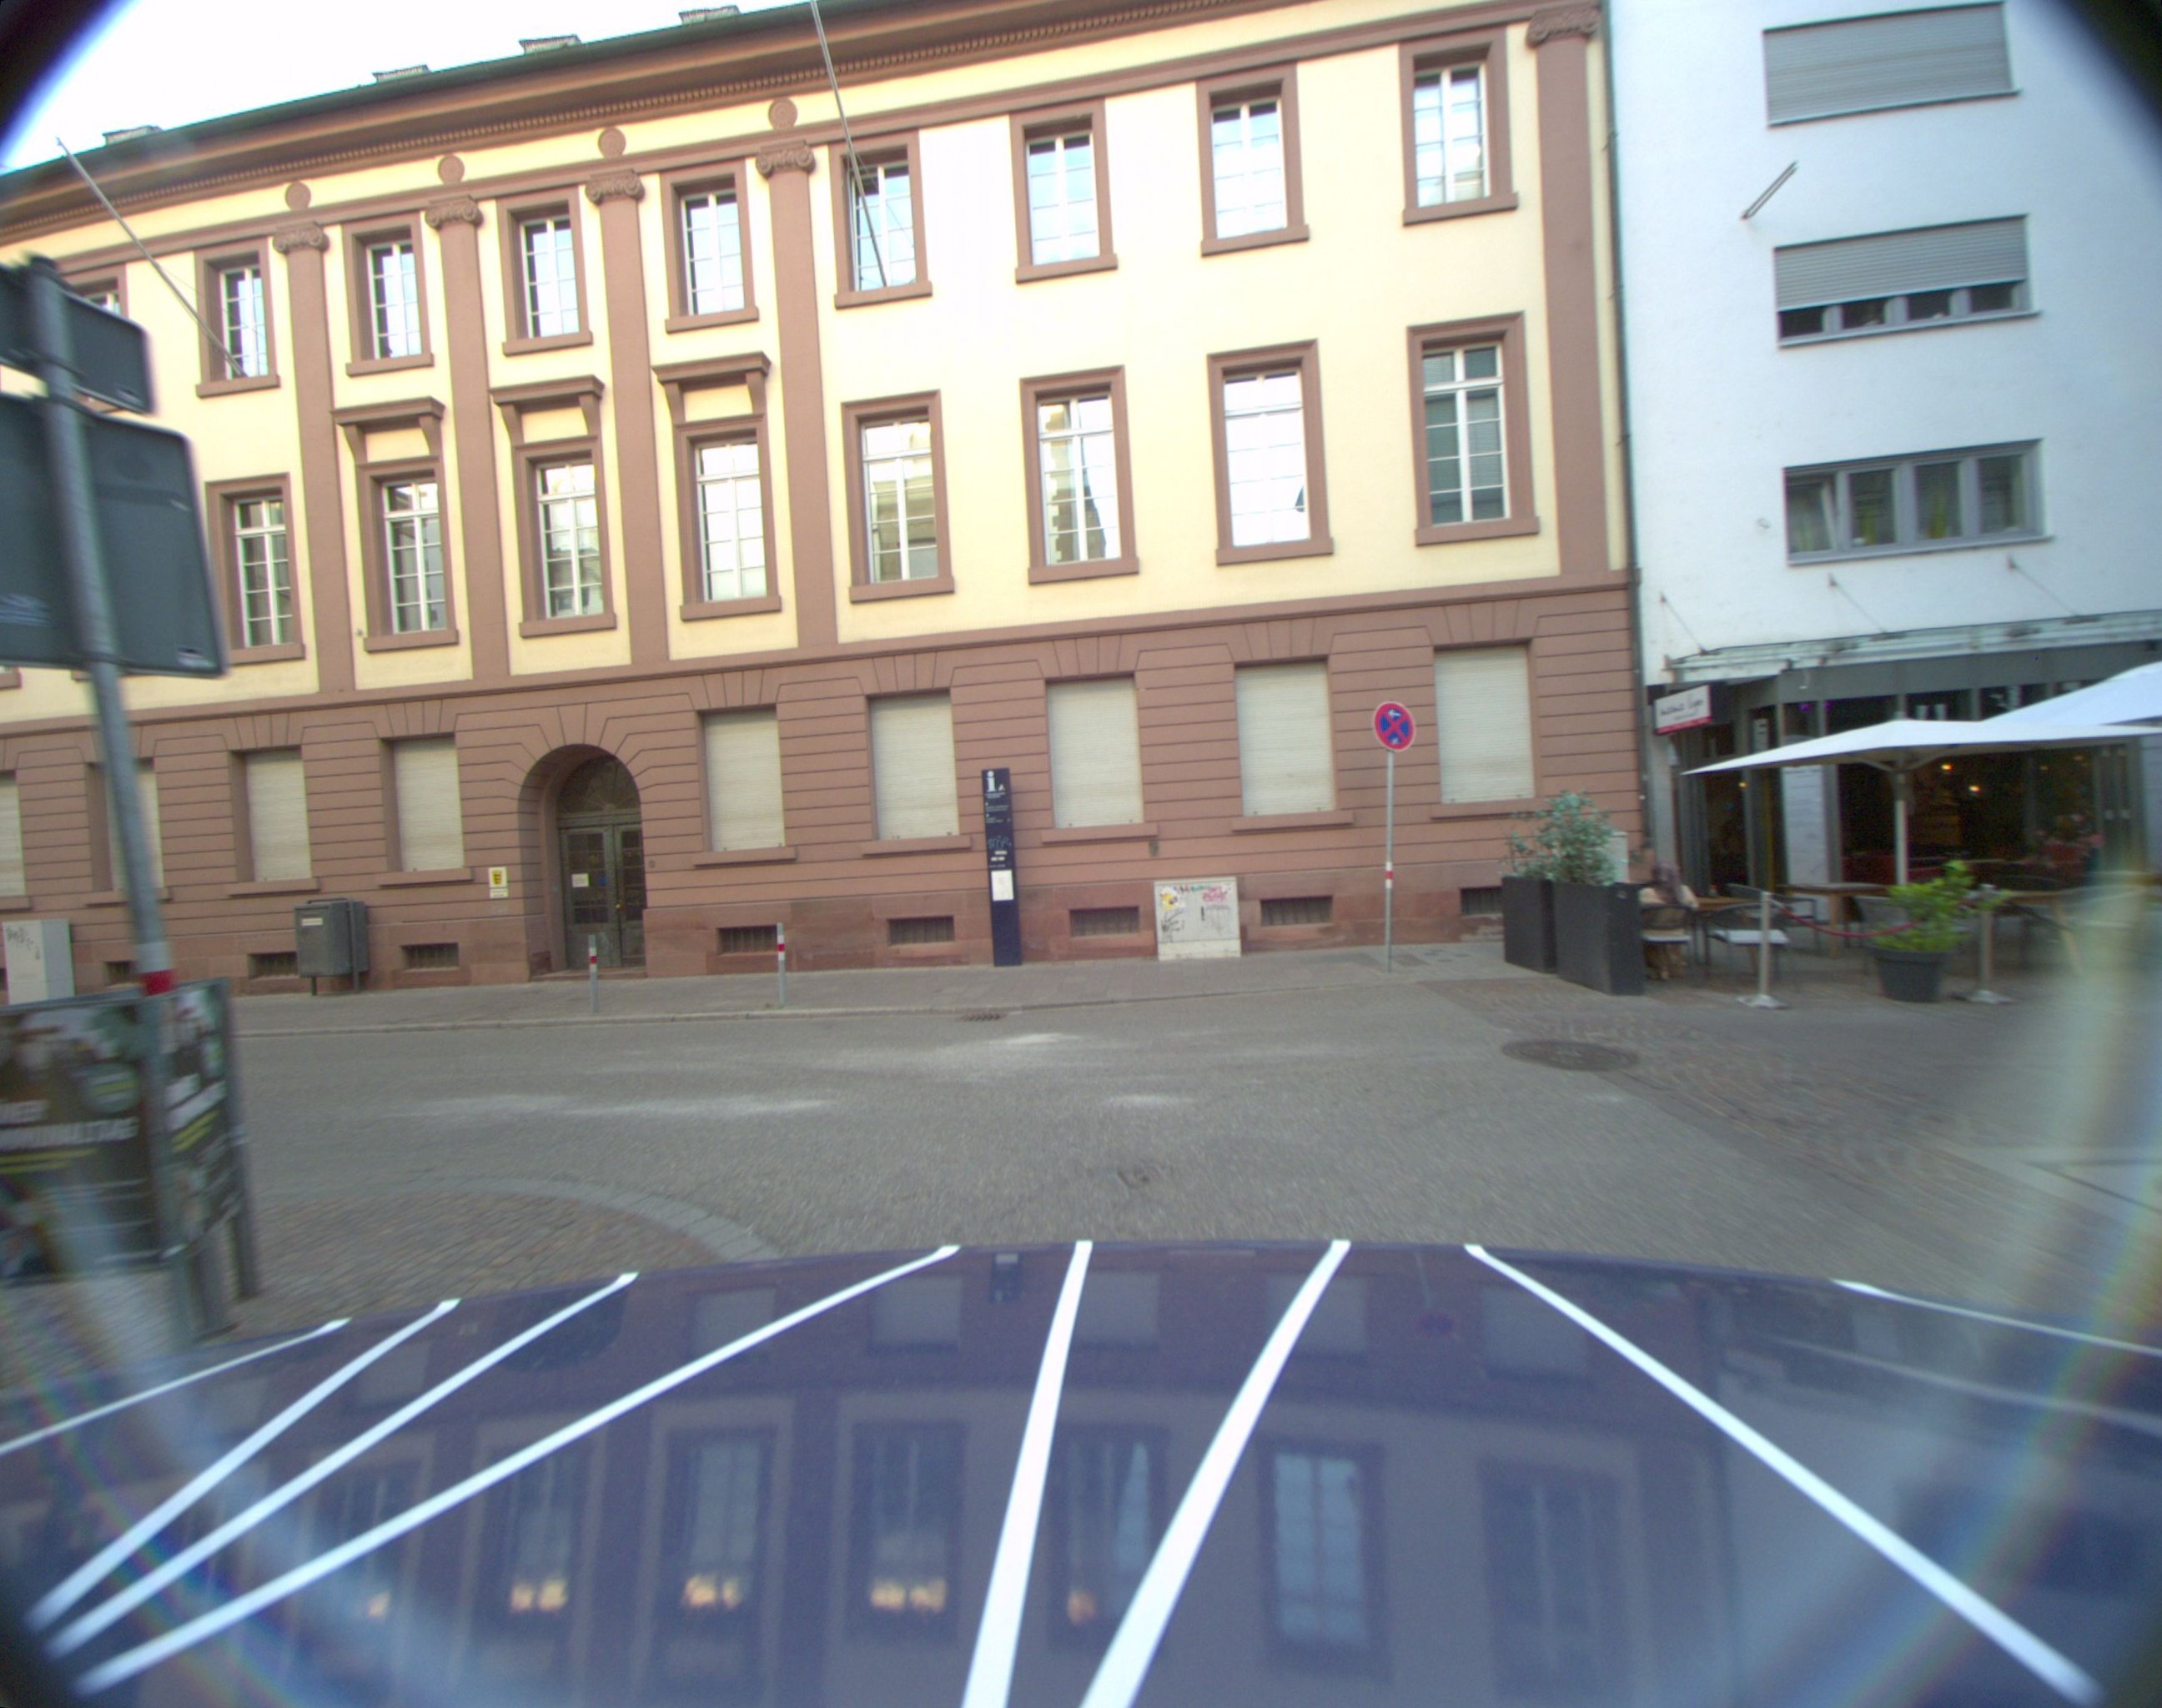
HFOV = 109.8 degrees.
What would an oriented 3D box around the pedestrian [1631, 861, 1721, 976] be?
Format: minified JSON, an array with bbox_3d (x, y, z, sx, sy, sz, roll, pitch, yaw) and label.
[{"bbox_3d":[6.550,0.698,8.391,0.548,1.204,0.524,-3,0,8],"label":"pedestrian"}]

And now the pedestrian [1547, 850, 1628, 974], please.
[{"bbox_3d":[5.728,0.646,8.612,0.548,1.341,0.489,-3,0,8],"label":"pedestrian"}]

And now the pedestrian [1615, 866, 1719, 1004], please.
[{"bbox_3d":[5.403,0.733,7.033,0.561,1.204,0.461,-3,0,8],"label":"pedestrian"}]
